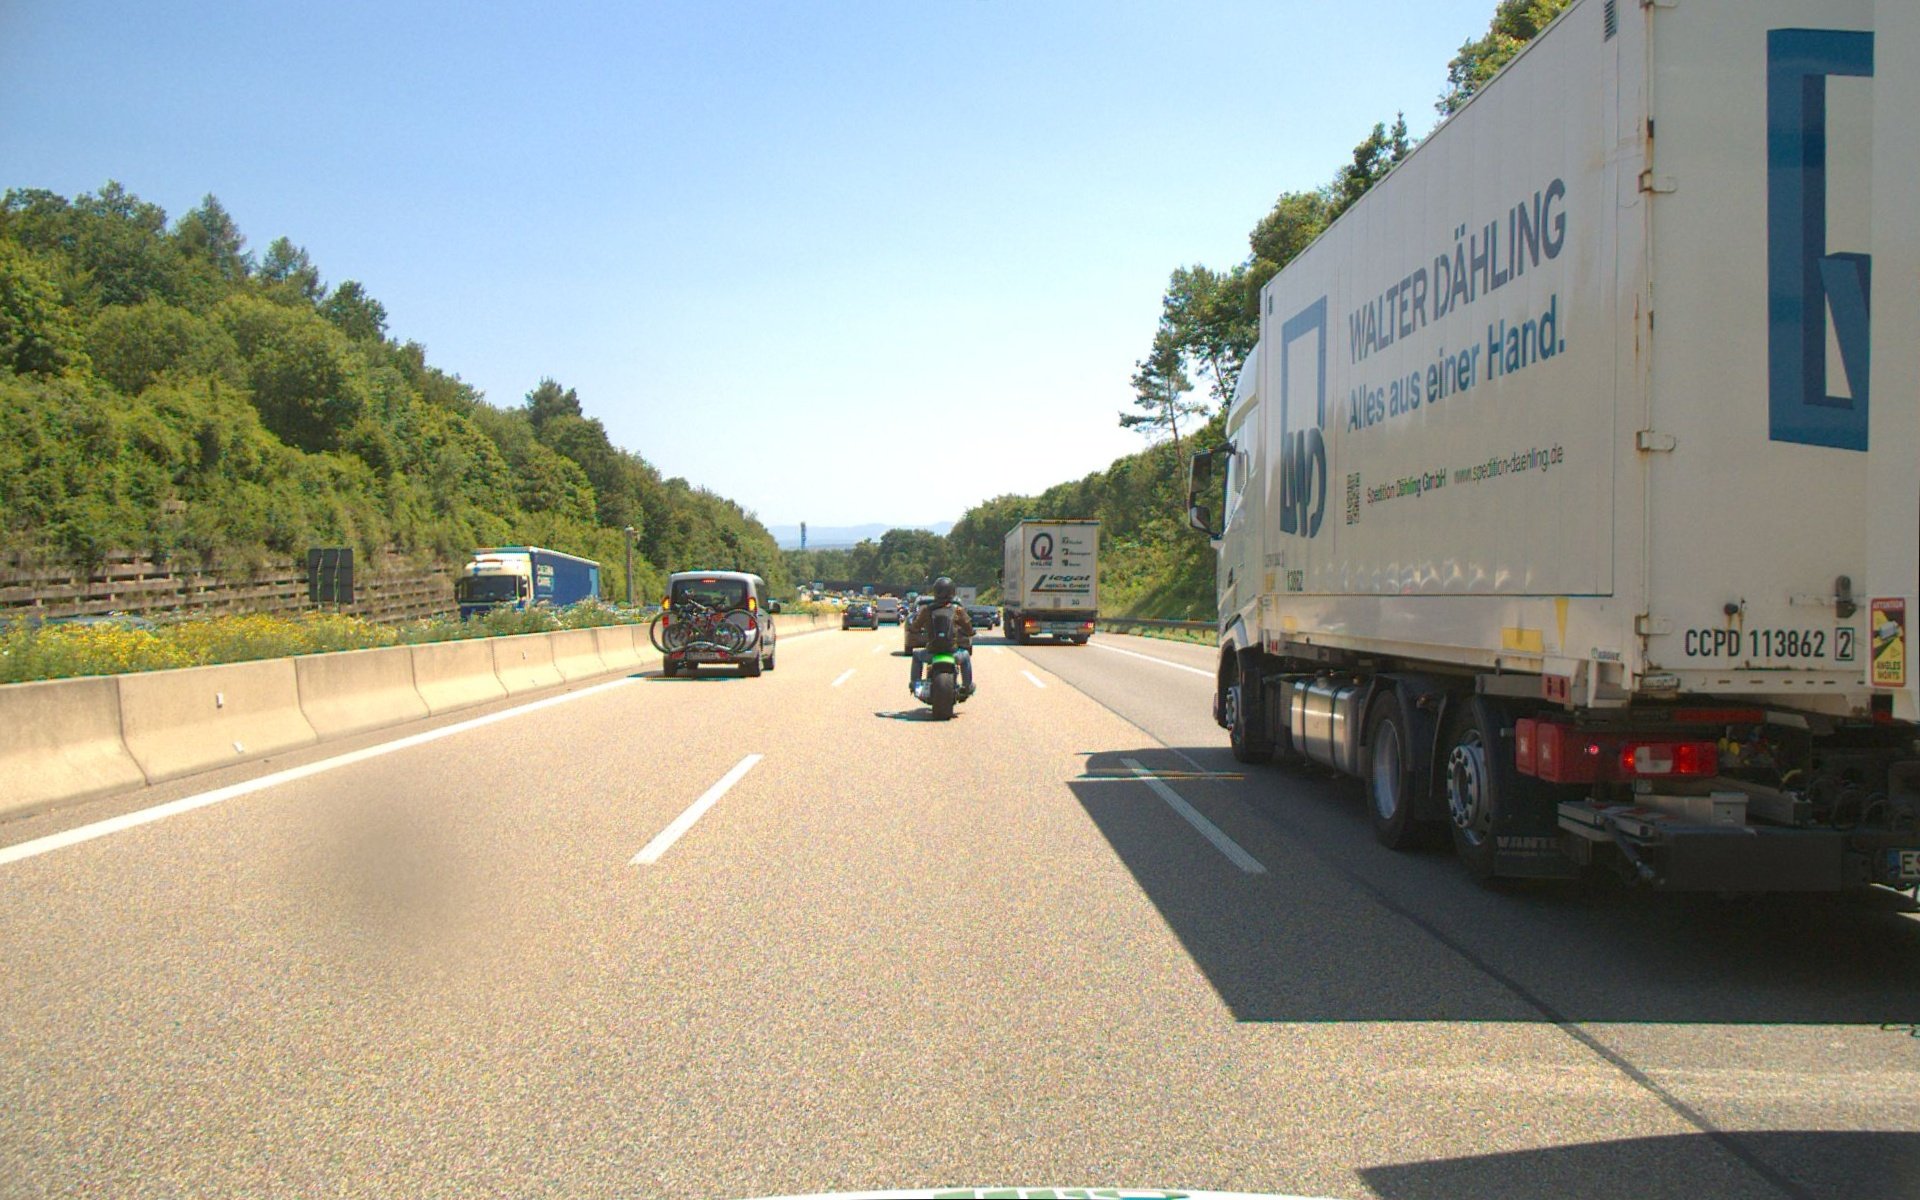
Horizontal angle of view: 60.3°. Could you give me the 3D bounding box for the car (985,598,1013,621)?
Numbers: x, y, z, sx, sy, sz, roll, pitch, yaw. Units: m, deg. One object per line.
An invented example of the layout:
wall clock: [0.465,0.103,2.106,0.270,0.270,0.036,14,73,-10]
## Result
car: [2.783,0.674,118.689,1.794,1.553,4.026,1,1,-1]

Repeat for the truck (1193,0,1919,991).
truck: [3.812,-0.706,11.321,2.626,4.130,10.623,1,1,-2]

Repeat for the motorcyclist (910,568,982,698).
motorcyclist: [-0.168,0.393,20.138,0.838,1.541,0.914,0,0,0]

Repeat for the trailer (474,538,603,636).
trailer: [-19.202,-0.625,76.418,2.626,4.085,14.185,0,1,-1]

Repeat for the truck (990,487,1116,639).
truck: [3.151,-1.291,61.965,3.315,4.800,17.705,2,1,-1]

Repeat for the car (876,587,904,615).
car: [-4.828,0.069,114.289,1.794,1.842,4.119,1,1,-1]

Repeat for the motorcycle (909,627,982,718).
motorcycle: [-0.169,0.858,20.224,0.844,0.999,2.130,0,0,0]

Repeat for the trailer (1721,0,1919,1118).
trailer: [4.084,-0.623,0.738,2.626,4.248,10.063,1,1,-1]

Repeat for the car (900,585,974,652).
car: [-0.616,0.444,43.003,1.808,1.584,4.438,1,1,-1]

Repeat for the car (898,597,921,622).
car: [-4.087,0.756,134.588,1.794,1.842,4.119,1,1,-1]

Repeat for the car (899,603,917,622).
car: [-5.405,1.294,172.227,1.794,1.842,4.119,1,1,-1]

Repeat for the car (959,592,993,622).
car: [0.890,0.370,93.924,1.794,1.585,4.119,1,1,-1]

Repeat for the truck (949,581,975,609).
truck: [0.217,-0.650,212.014,3.005,3.405,9.650,2,1,-1]

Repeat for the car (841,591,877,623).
car: [-5.308,0.369,87.386,1.722,1.570,4.394,1,1,-1]

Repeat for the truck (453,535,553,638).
truck: [-19.043,-0.576,69.283,2.626,4.101,5.930,0,1,-1]

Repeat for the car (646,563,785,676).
car: [-4.410,0.312,30.612,1.860,1.880,5.481,1,0,-1]
